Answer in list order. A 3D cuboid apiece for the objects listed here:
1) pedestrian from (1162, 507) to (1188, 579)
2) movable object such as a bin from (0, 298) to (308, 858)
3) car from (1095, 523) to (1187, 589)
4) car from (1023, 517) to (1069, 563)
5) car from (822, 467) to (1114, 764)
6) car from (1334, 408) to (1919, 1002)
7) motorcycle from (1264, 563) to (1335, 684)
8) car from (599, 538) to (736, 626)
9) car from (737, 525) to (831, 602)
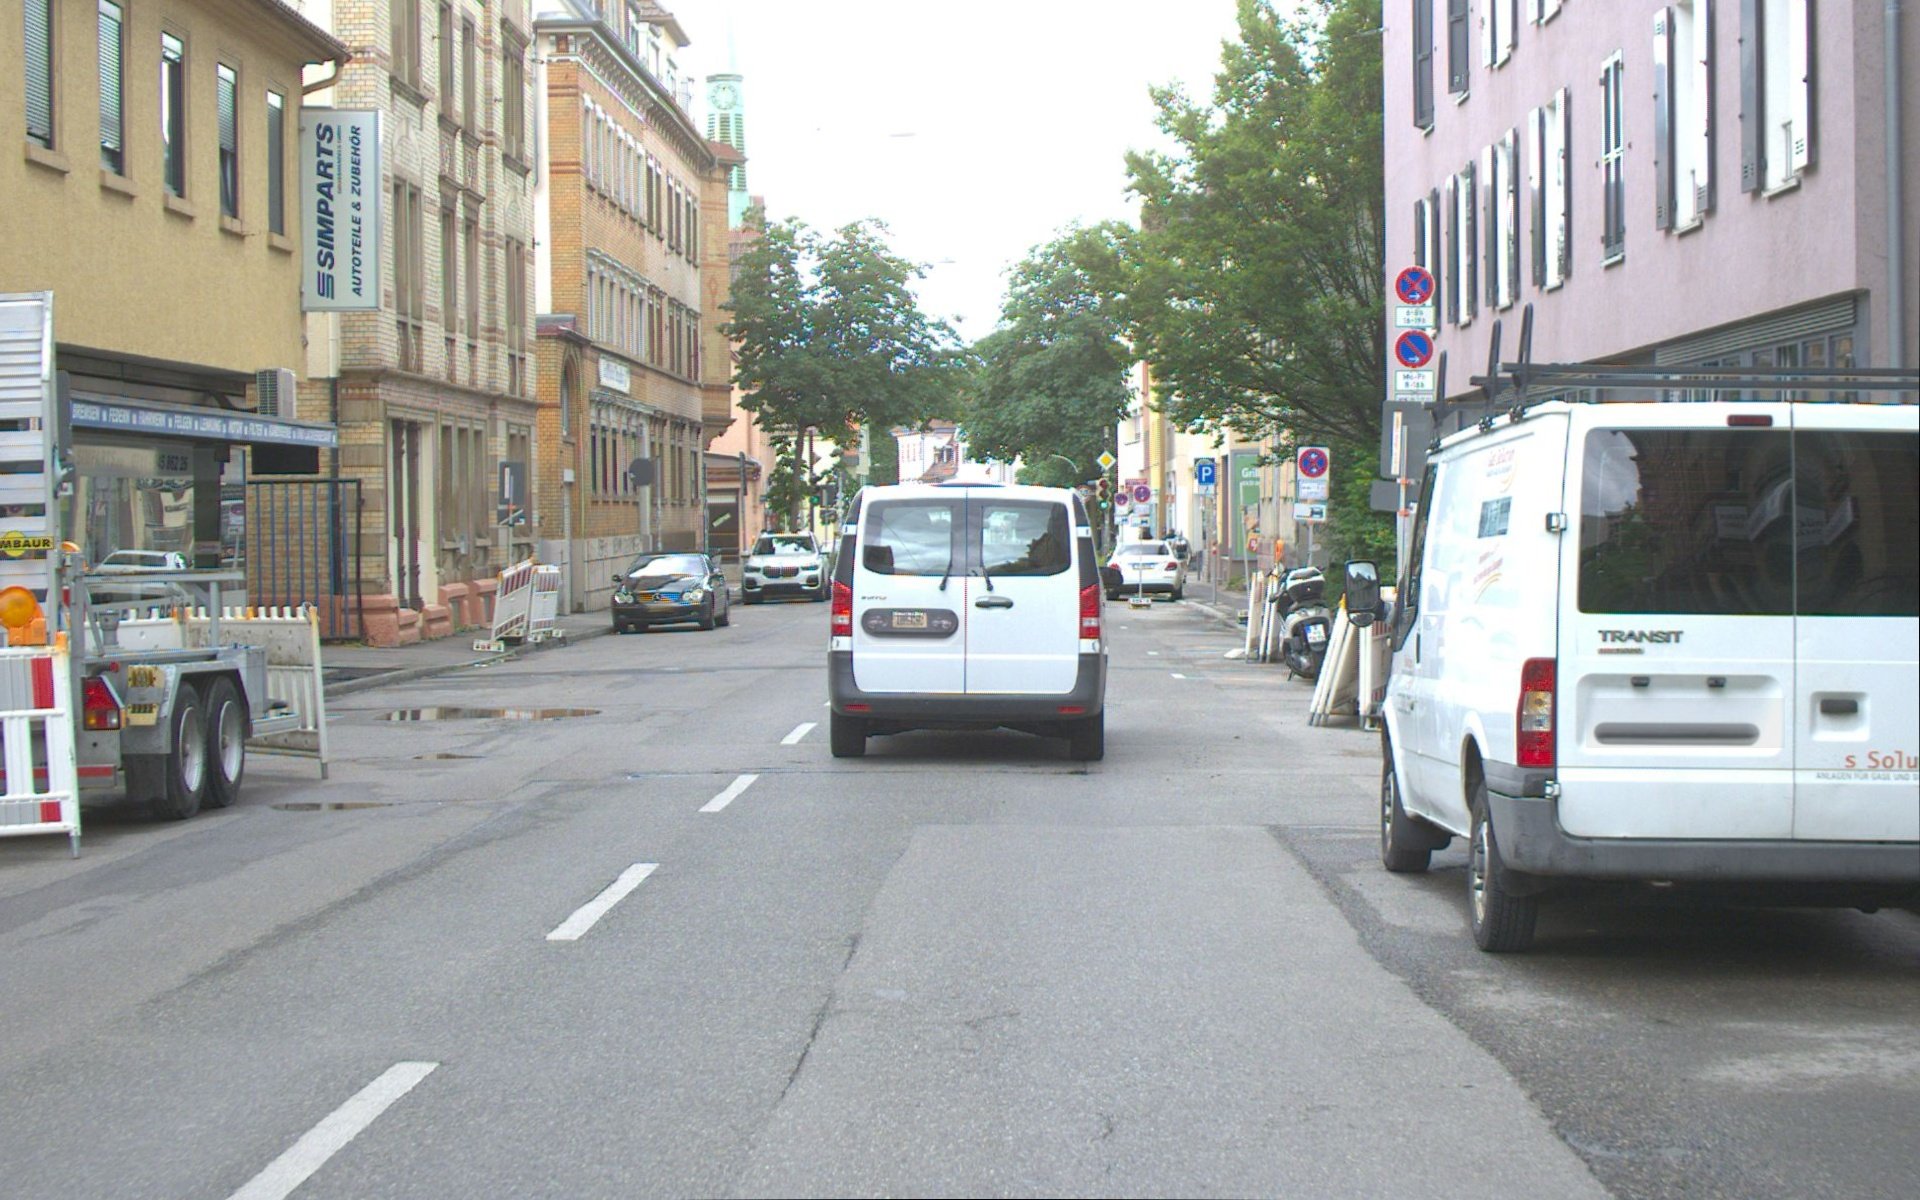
[{"bbox_3d":[6.092,-1.624,97.382,0.623,2.007,0.907,3,1,2],"label":"pedestrian"},{"bbox_3d":[-5.508,-0.127,19.724,2.537,2.815,4.539,-2,1,1],"label":"movable object such as a bin"},{"bbox_3d":[4.435,-1.097,84.766,1.993,1.480,4.000,3,1,0],"label":"car"},{"bbox_3d":[3.919,-2.725,156.138,1.994,2.007,4.000,-1,0,3],"label":"car"},{"bbox_3d":[0.027,0.063,24.708,1.891,1.922,4.645,0,1,-1],"label":"car"},{"bbox_3d":[2.894,0.313,14.166,2.128,1.998,4.926,1,1,0],"label":"car"},{"bbox_3d":[3.619,0.232,36.778,0.644,1.242,2.268,0,1,3],"label":"motorcycle"},{"bbox_3d":[-5.105,-0.339,60.490,1.993,1.437,4.000,-2,1,1],"label":"car"},{"bbox_3d":[-4.330,-0.928,84.901,1.993,1.735,4.000,3,1,0],"label":"car"}]
